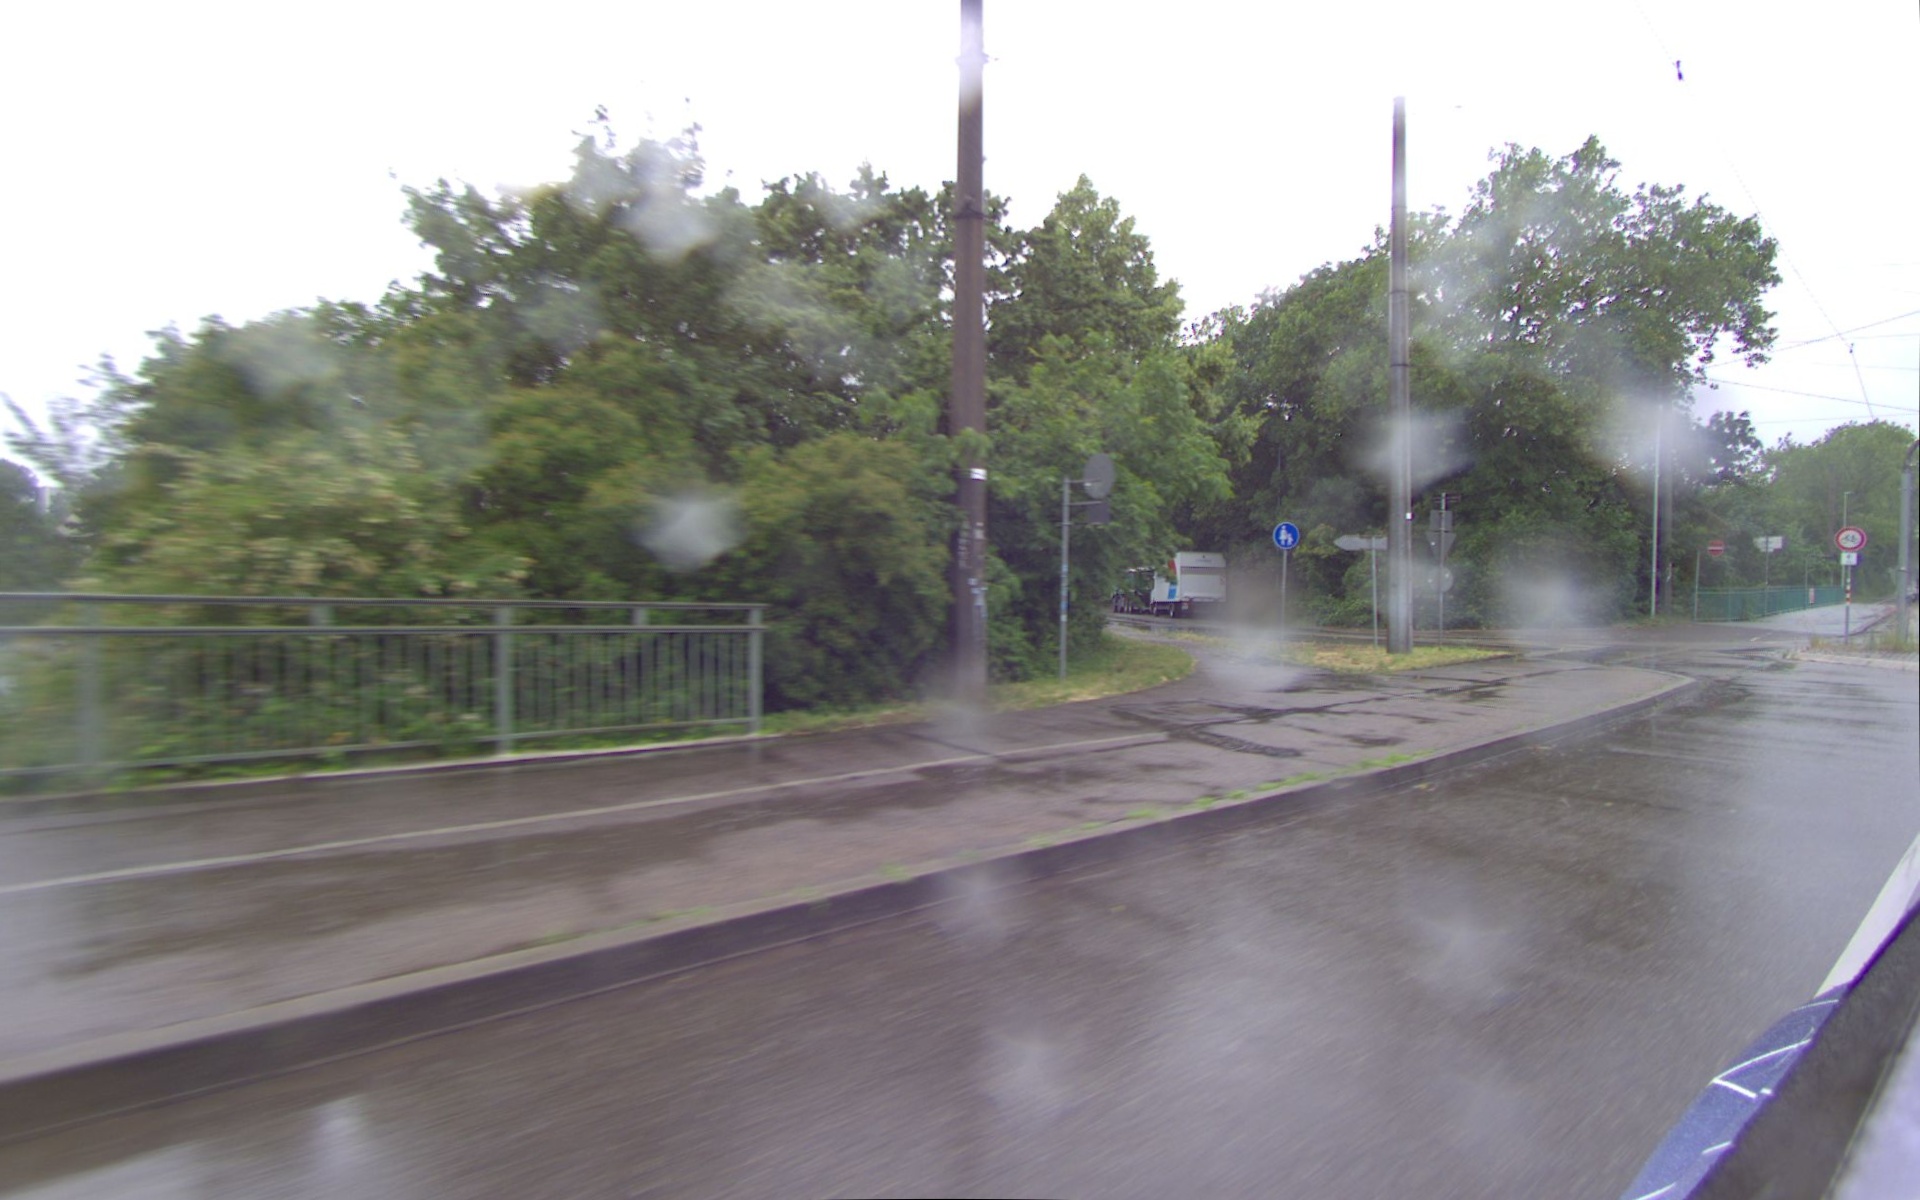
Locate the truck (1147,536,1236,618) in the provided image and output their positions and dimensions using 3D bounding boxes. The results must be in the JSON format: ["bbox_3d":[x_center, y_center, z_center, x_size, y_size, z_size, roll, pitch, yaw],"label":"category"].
[{"bbox_3d":[13.178,-1.289,58.505,2.959,4.286,8.376,-1,1,-1],"label":"truck"}]

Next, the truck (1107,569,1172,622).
[{"bbox_3d":[12.345,-0.333,70.368,2.492,3.401,8.547,-1,1,-3],"label":"truck"}]
